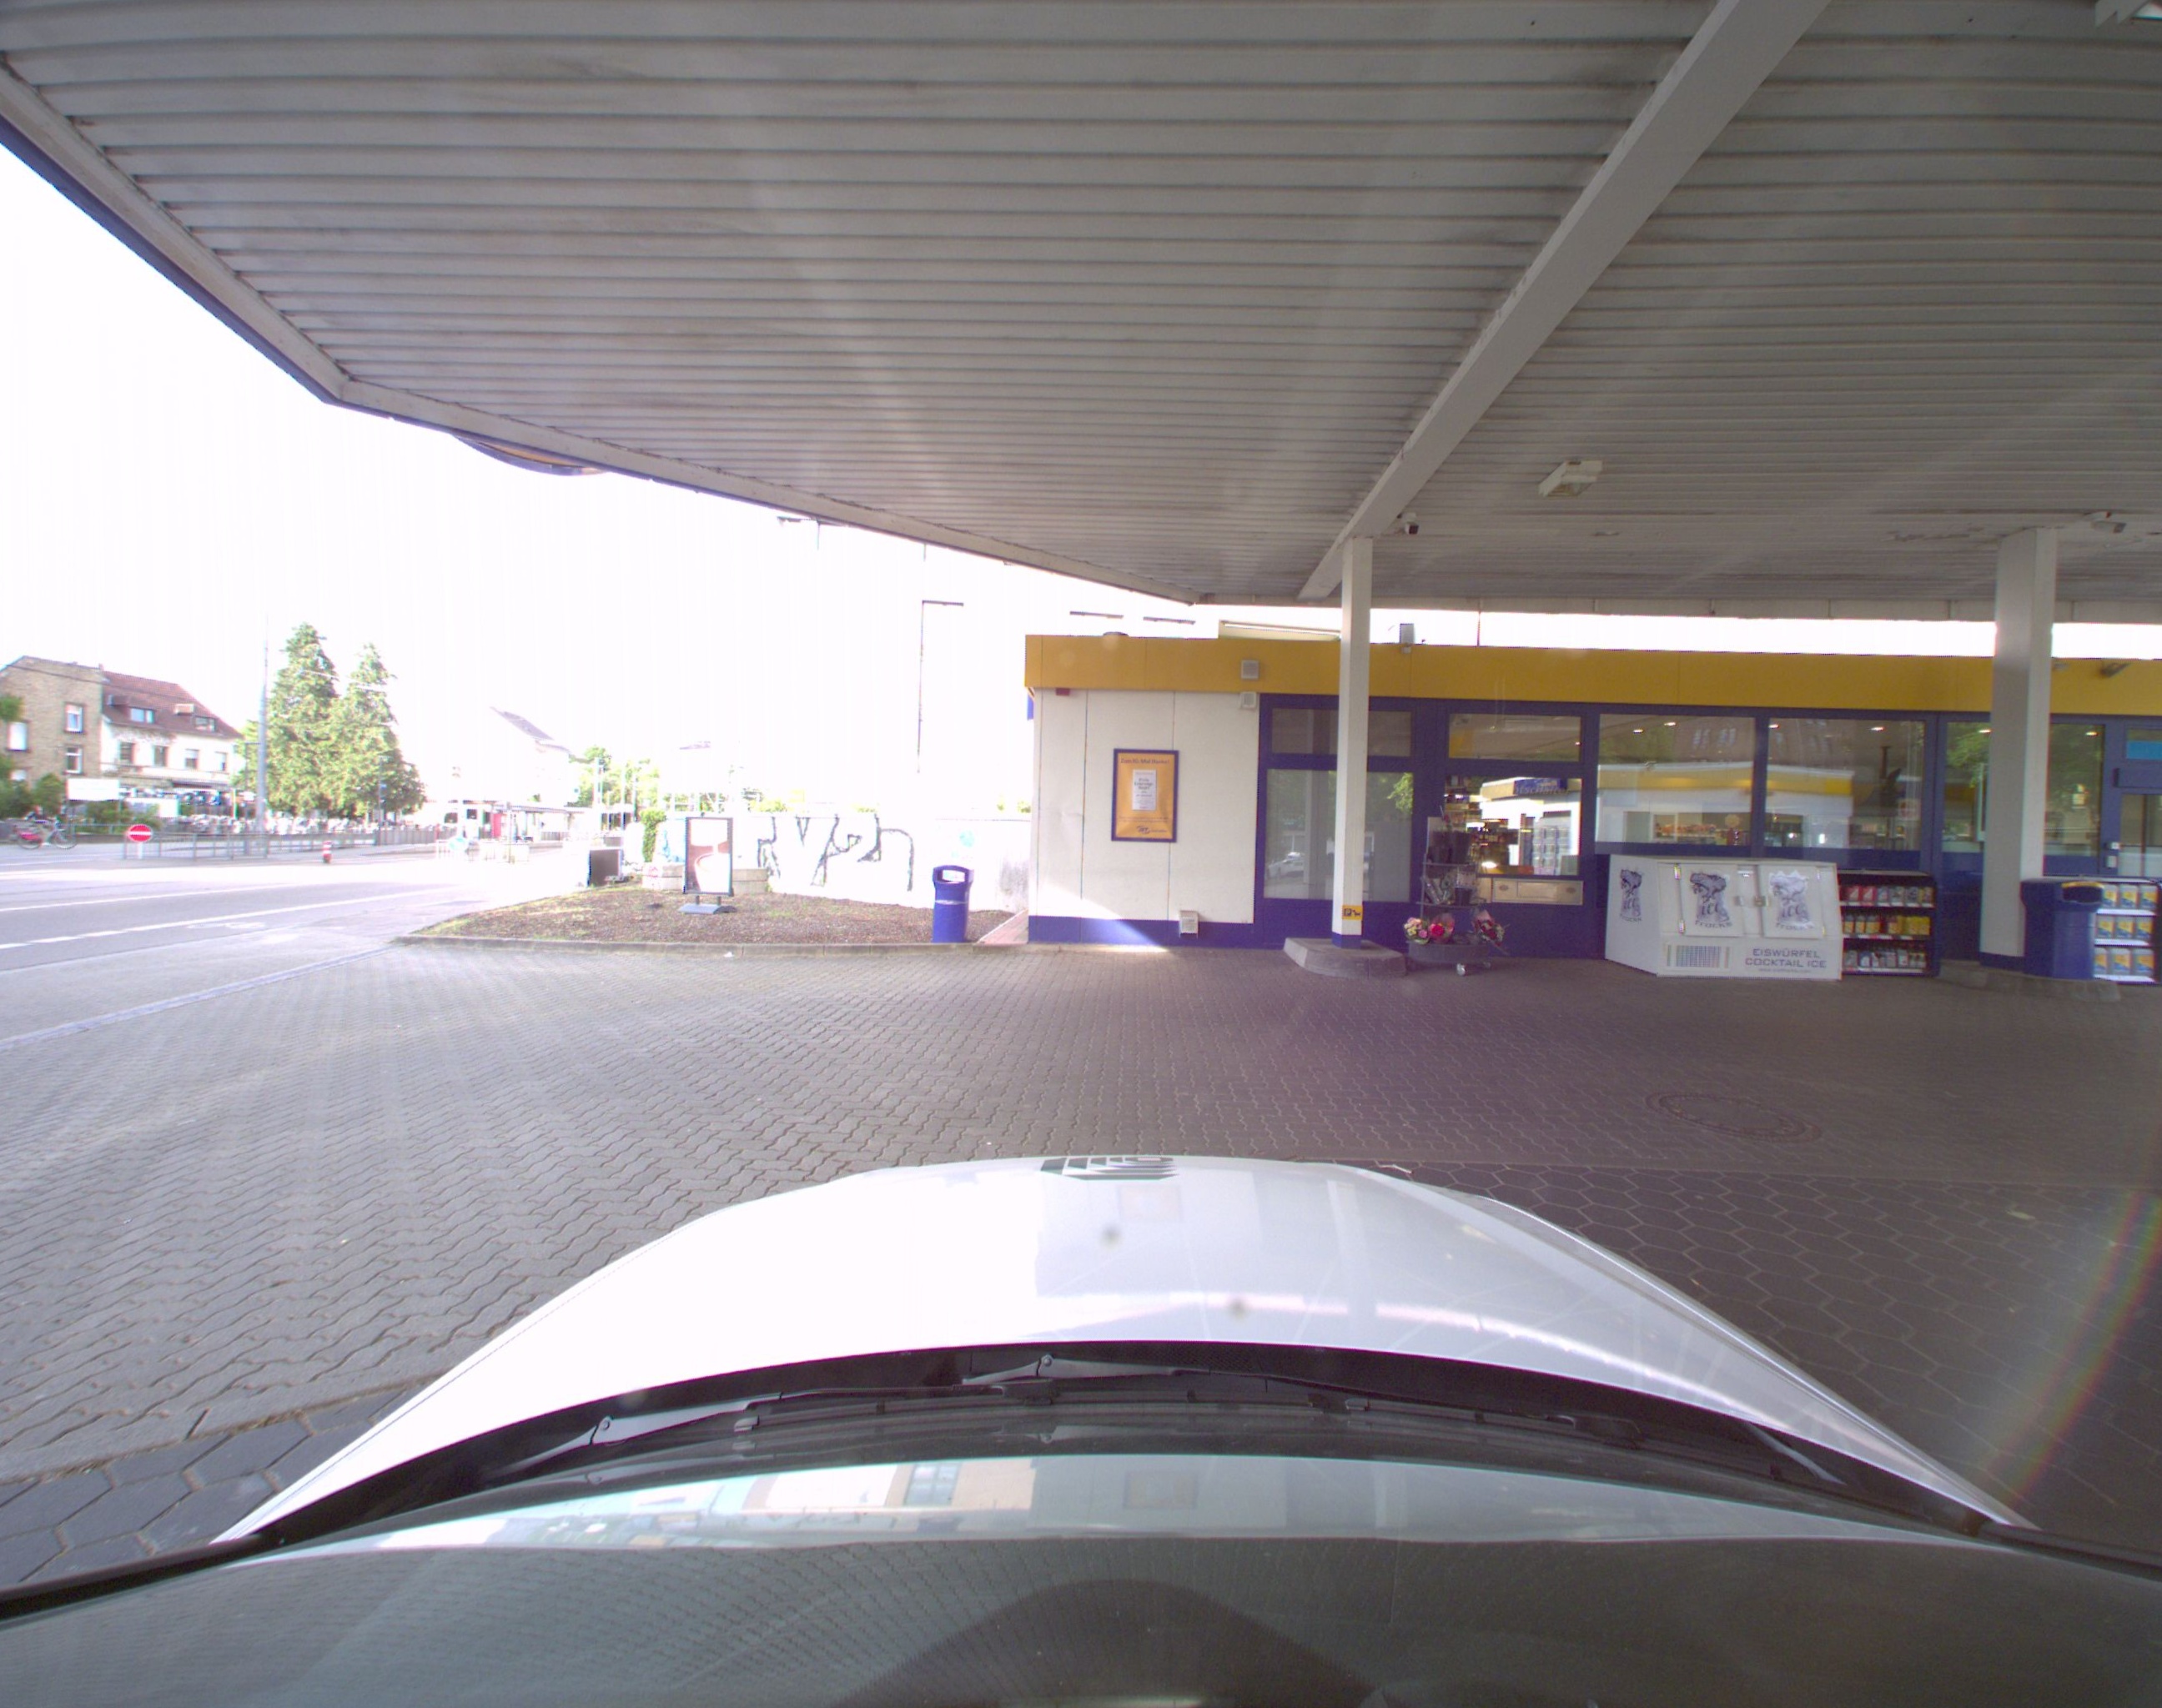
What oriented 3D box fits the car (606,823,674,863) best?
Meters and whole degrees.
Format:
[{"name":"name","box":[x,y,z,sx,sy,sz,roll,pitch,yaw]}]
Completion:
[{"name":"car","box":[-22.503,-0.561,41.742,1.965,1.889,4.390,1,0,-14]}]

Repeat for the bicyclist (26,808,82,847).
[{"name":"bicyclist","box":[-41.220,-1.041,32.708,0.781,1.492,1.099,4,0,11]}]

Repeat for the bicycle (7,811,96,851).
[{"name":"bicycle","box":[-41.237,-0.907,32.657,0.781,1.492,1.998,4,0,12]}]
